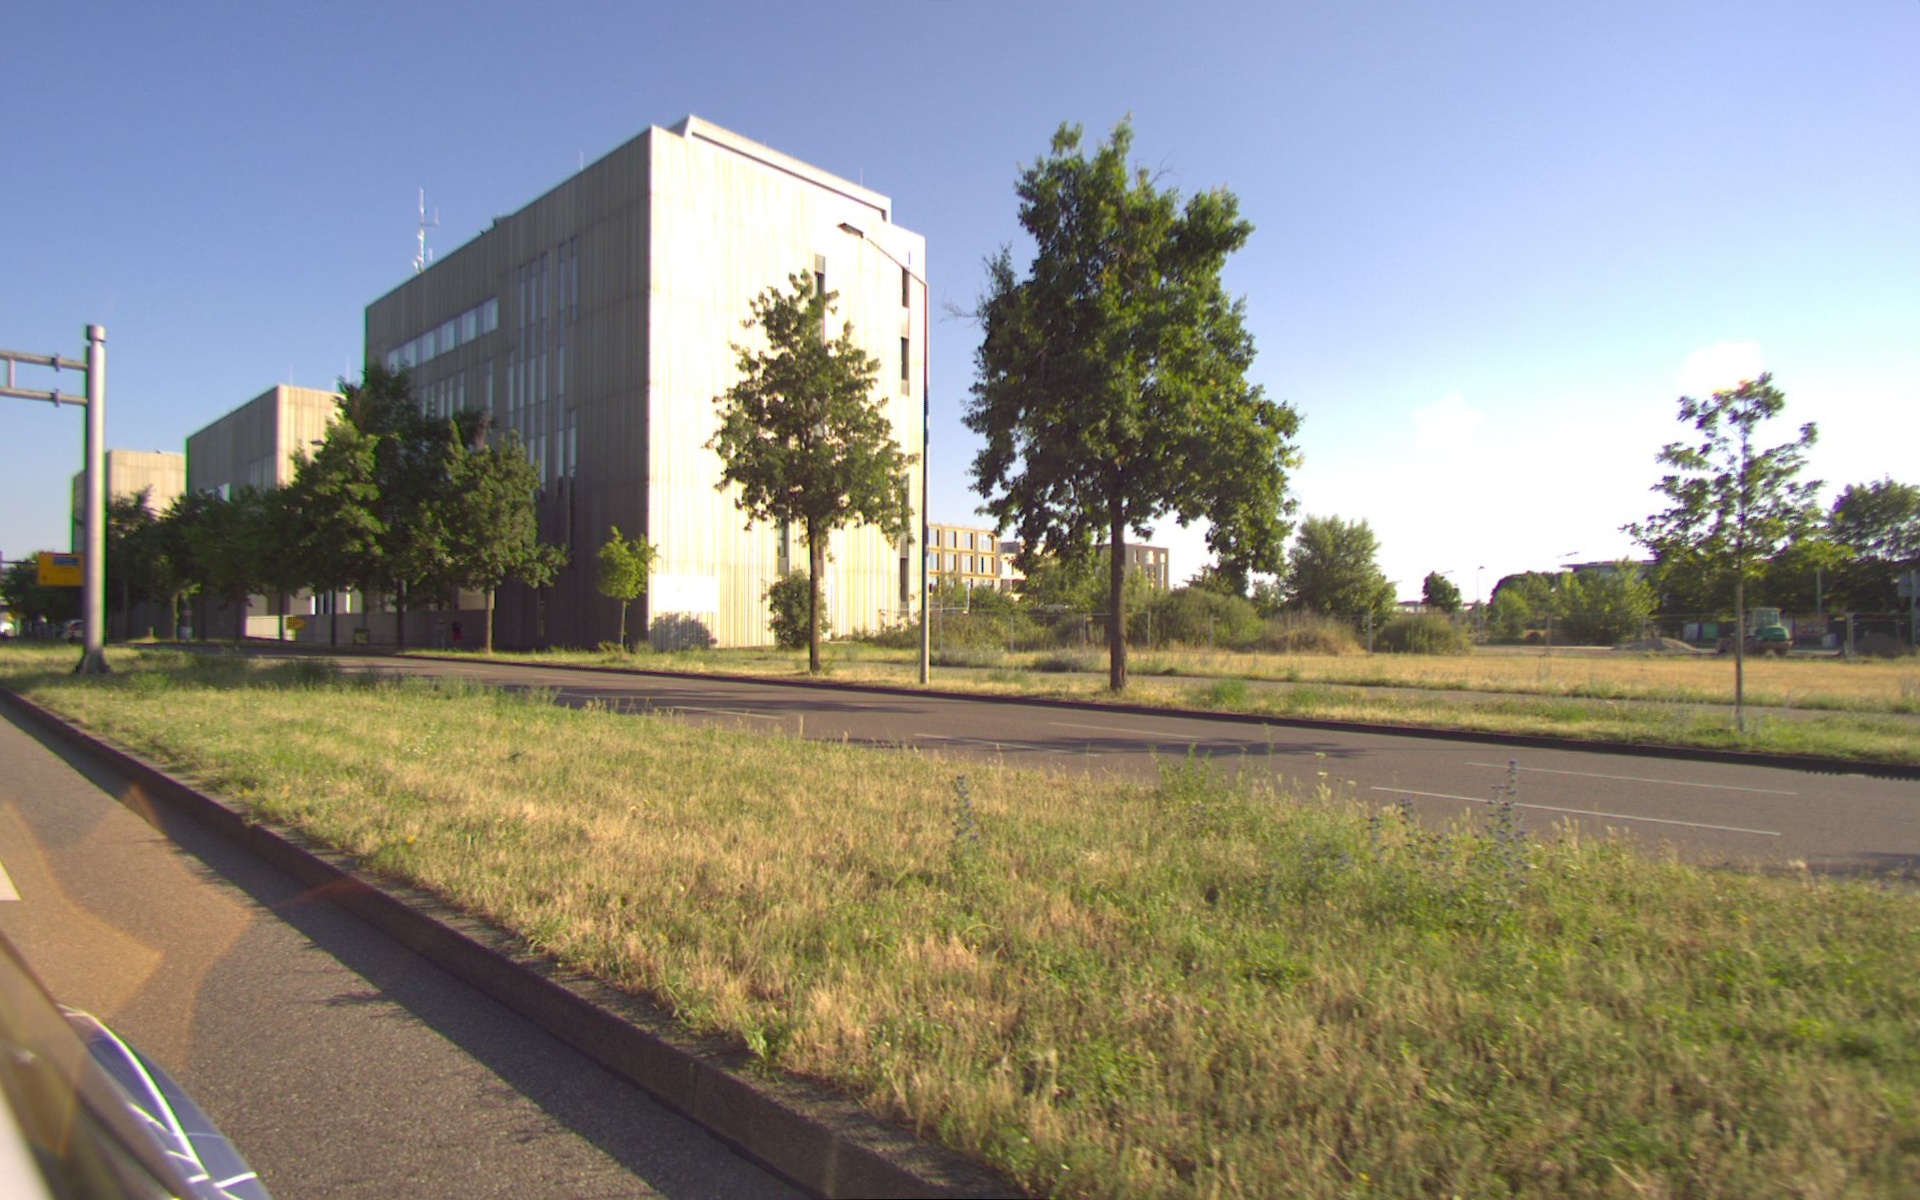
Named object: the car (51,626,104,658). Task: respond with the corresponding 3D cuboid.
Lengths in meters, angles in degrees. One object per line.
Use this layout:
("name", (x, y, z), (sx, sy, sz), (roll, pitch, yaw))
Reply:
("car", (-46.330, 2.185, 53.112), (3.409, 1.587, 1.546), (-1, -2, 40))

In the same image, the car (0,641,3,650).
("car", (-149.786, 7.060, 156.683), (3.858, 1.524, 1.582), (-2, -2, 35))

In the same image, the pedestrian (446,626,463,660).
("pedestrian", (-27.852, 2.338, 55.727), (0.716, 1.855, 0.625), (-2, -3, 44))

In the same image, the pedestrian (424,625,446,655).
("pedestrian", (-28.931, 2.206, 55.762), (0.909, 1.614, 0.767), (-2, -3, 44))

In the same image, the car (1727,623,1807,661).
("car", (45.294, 2.336, 56.893), (1.980, 2.029, 3.863), (0, -2, 13))
